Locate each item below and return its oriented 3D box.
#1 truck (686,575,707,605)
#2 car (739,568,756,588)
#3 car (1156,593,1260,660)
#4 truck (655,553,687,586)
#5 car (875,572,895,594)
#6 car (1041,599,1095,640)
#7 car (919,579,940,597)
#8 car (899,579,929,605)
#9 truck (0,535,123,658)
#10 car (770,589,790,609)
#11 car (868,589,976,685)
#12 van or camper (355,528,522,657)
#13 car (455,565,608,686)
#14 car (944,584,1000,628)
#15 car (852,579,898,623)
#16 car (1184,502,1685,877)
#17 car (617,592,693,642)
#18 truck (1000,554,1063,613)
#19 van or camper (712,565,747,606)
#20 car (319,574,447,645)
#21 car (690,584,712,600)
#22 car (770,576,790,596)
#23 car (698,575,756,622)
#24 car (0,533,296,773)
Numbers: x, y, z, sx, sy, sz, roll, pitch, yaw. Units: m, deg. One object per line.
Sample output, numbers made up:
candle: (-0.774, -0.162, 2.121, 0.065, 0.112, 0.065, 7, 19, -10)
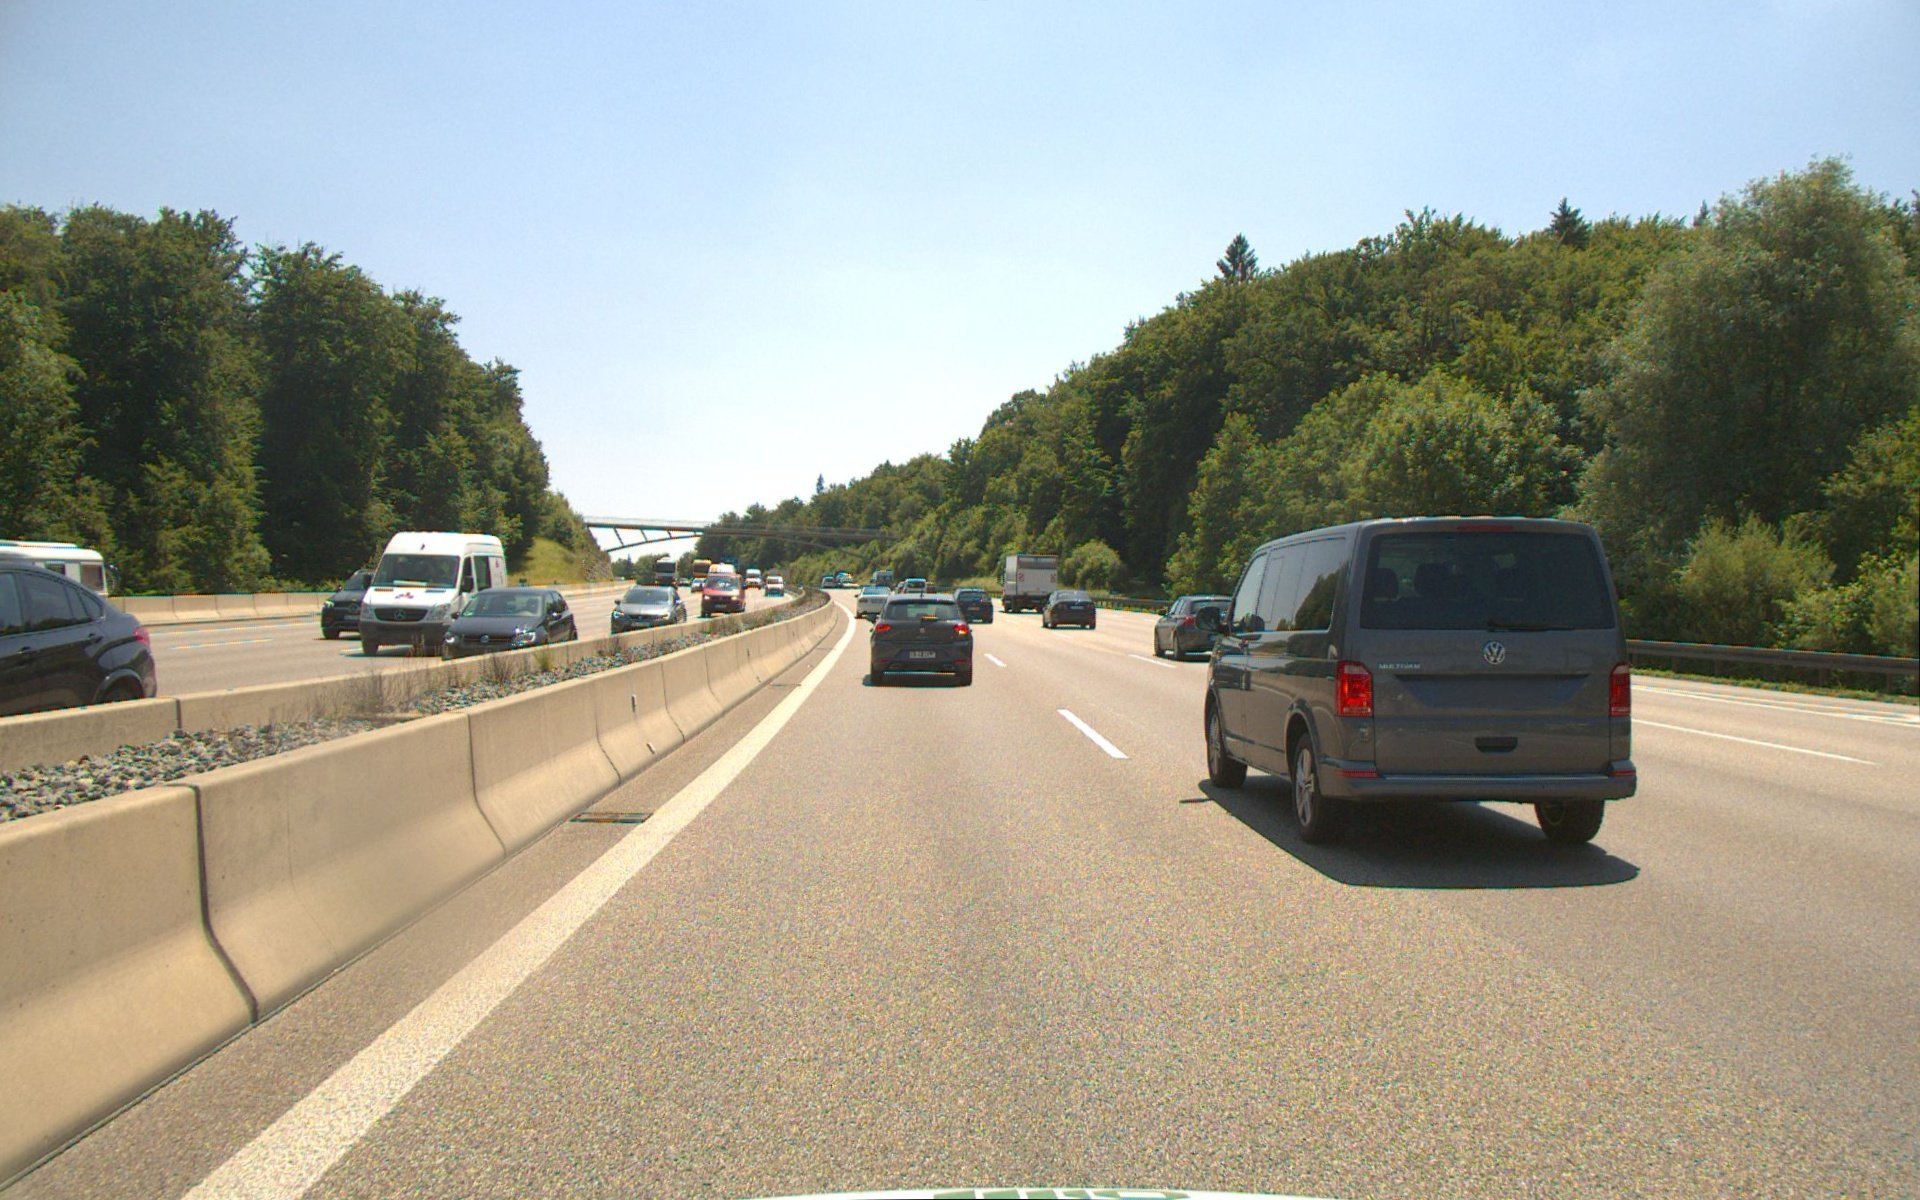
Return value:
truck: (-36.241, -1.371, 227.439, 2.482, 4.009, 6.792, 1, 0, -6)
car: (-27.429, -2.791, 213.638, 2.114, 2.533, 4.695, 0, 1, -7)
car: (5.619, 0.560, 37.872, 1.668, 1.420, 4.153, 1, 0, -1)
truck: (-32.806, -3.387, 187.910, 2.559, 3.526, 9.872, 2, 0, -5)
car: (-8.573, -1.897, 189.692, 2.220, 2.413, 4.699, 1, 0, -3)
car: (4.099, 0.709, 63.553, 1.631, 1.433, 4.902, 1, 1, -1)
car: (-3.450, -1.287, 185.499, 2.103, 1.890, 3.996, 2, -1, -5)
car: (-3.258, -0.609, 117.095, 2.061, 1.774, 4.685, 1, 1, -3)
truck: (-18.867, -0.097, 30.765, 2.005, 2.294, 8.823, 2, 0, 0)
car: (-19.632, -0.085, 180.468, 1.954, 2.049, 3.996, 2, -2, -5)
car: (-0.639, 0.570, 27.976, 1.673, 1.458, 3.999, 1, 0, -1)
van or camper: (-11.476, -0.159, 36.893, 2.058, 2.611, 6.395, 1, 0, -4)
car: (-7.685, 0.477, 30.137, 1.735, 1.978, 5.082, 2, -1, -4)
car: (0.478, 0.282, 70.370, 1.955, 1.758, 4.143, 1, -2, -6)
car: (-3.962, 0.081, 77.797, 1.971, 1.878, 3.998, 1, -3, -1)
car: (2.994, 0.499, 11.744, 1.923, 2.069, 5.081, 1, 0, -2)
car: (-8.944, 0.489, 48.722, 1.608, 1.373, 3.998, 2, 0, -2)
truck: (4.066, -0.975, 95.707, 2.926, 3.222, 7.571, 1, 1, -3)
van or camper: (-16.704, -1.049, 120.006, 1.954, 2.848, 7.408, 1, 0, -4)
car: (-15.472, 0.238, 44.652, 1.954, 1.793, 5.065, 1, 0, -4)
car: (-26.426, -0.815, 168.856, 1.728, 1.508, 4.491, 2, 0, -4)
car: (-16.917, -1.331, 155.298, 1.784, 1.904, 4.583, 0, 1, -6)
car: (-10.486, -0.071, 74.671, 2.191, 2.049, 4.227, 1, 0, -3)
car: (-7.027, 0.331, 12.994, 1.734, 1.536, 4.822, 2, 0, -1)
